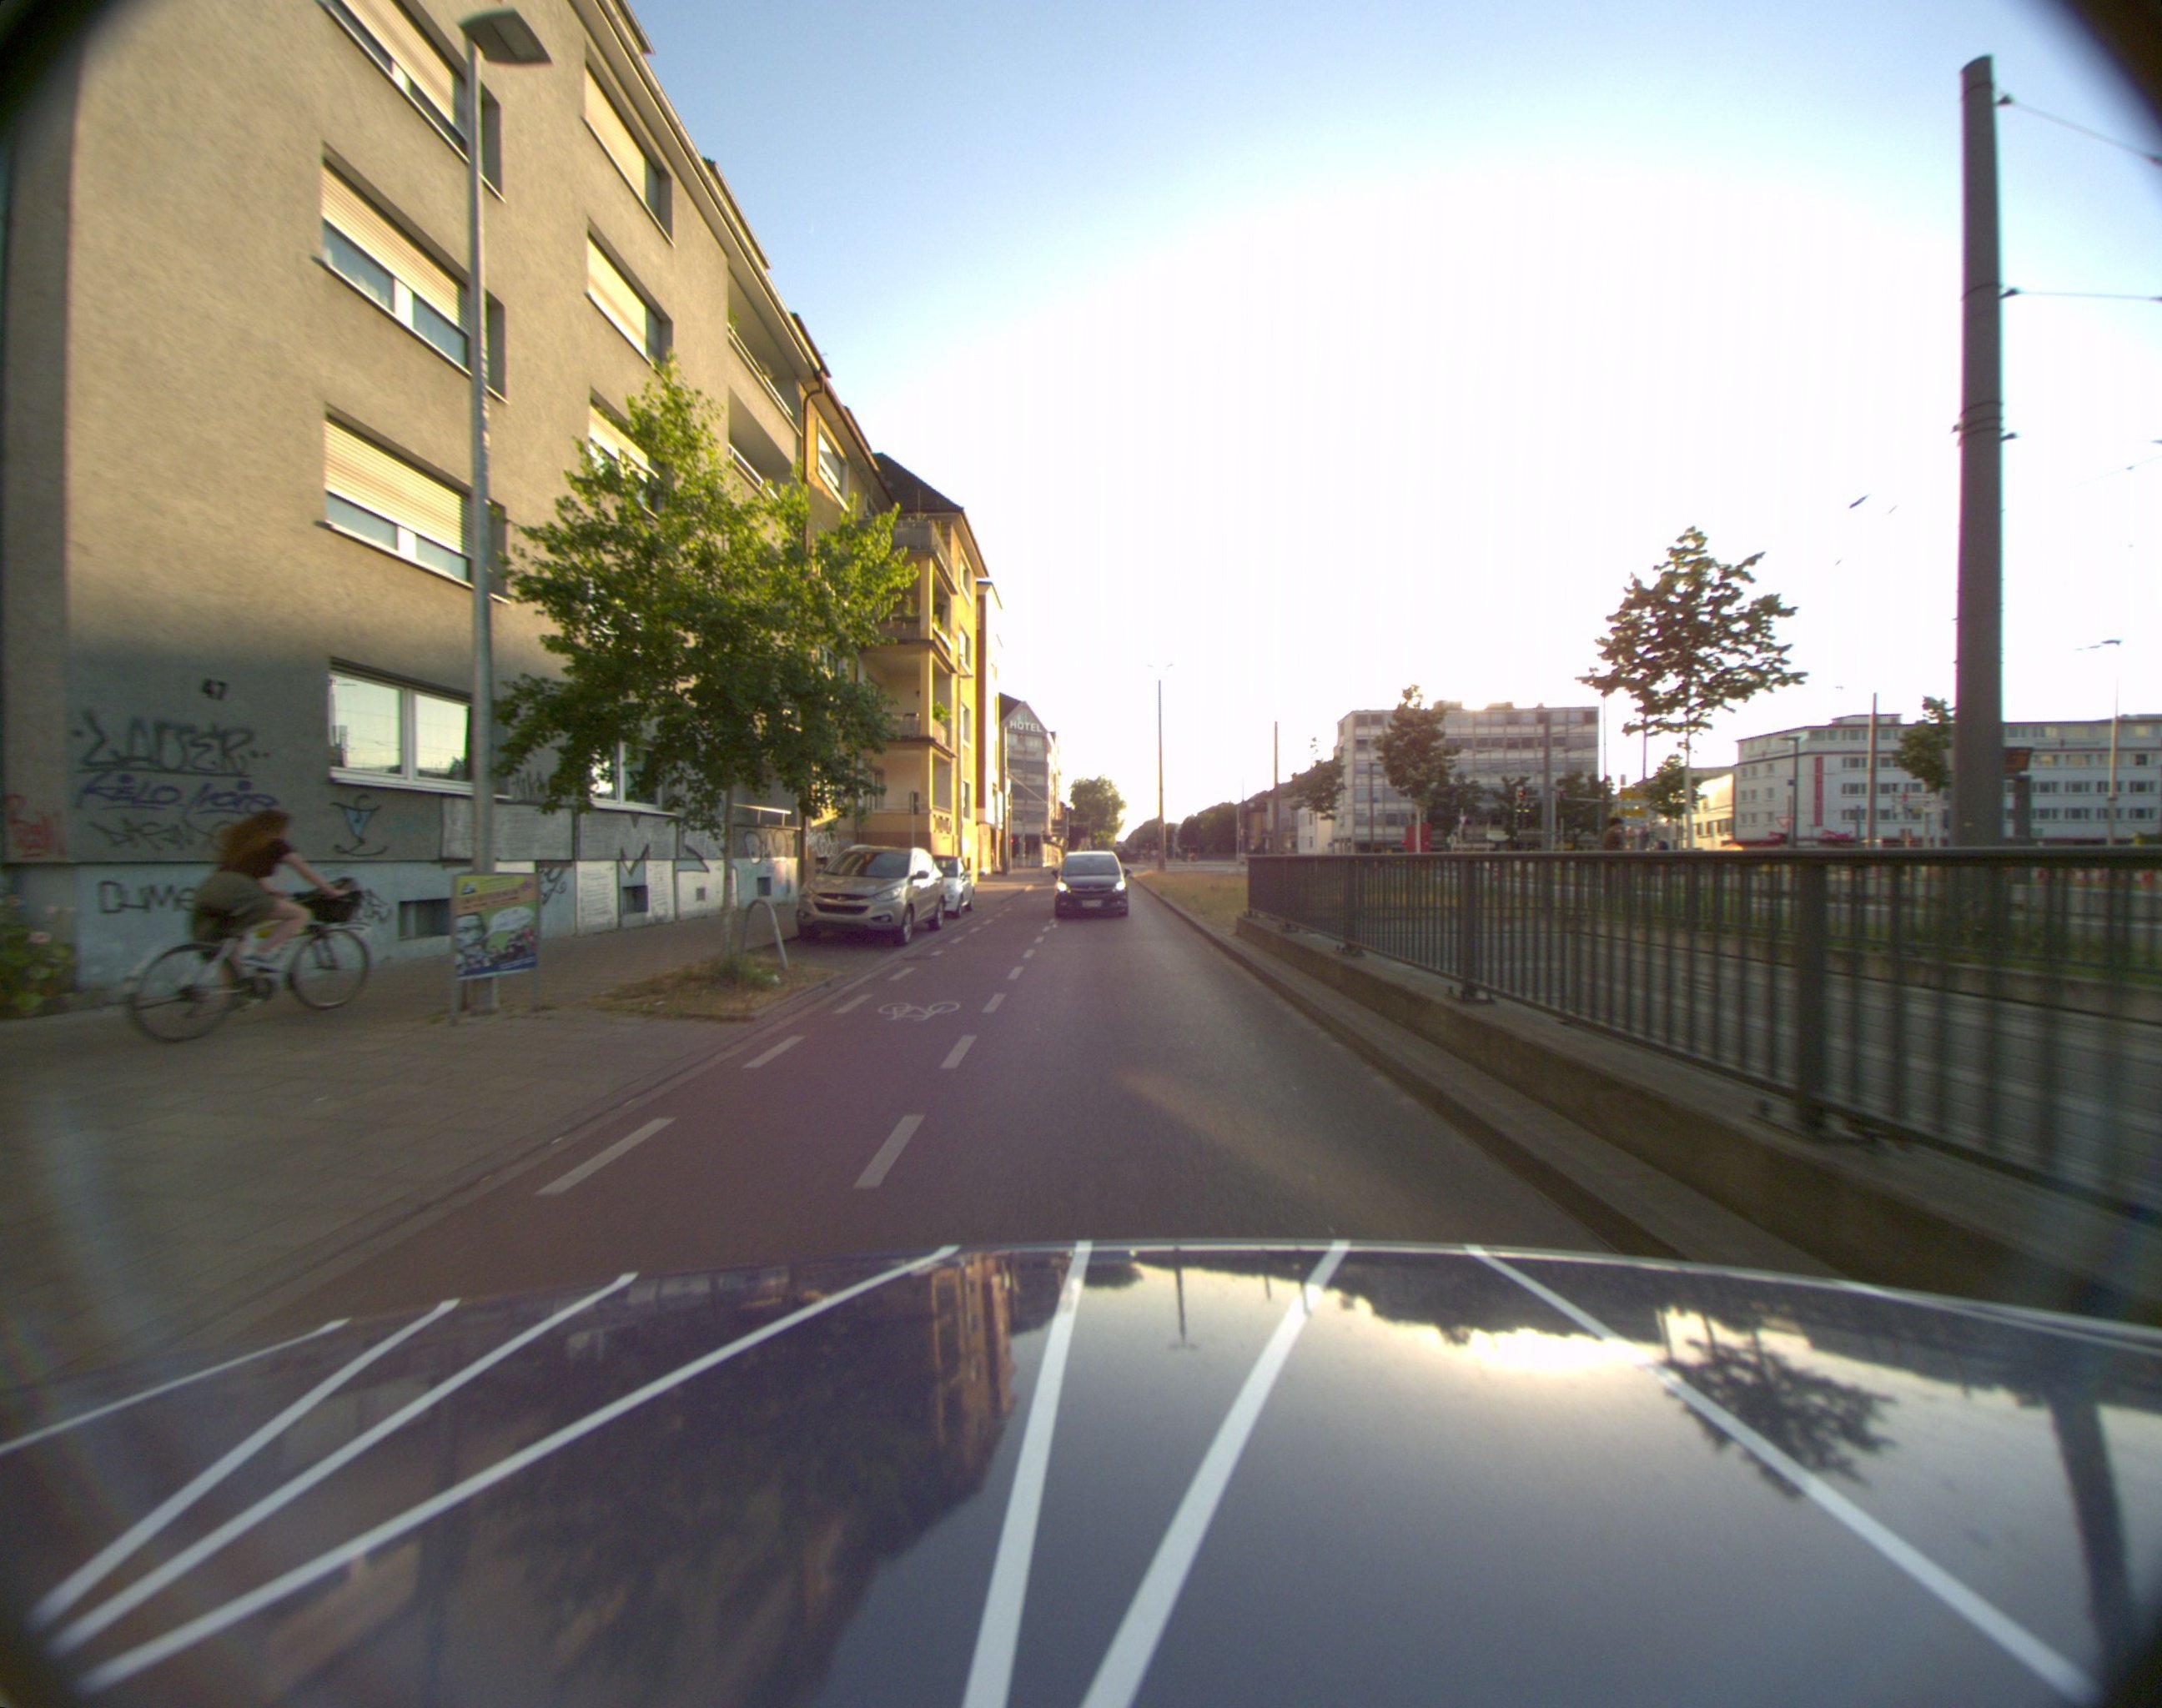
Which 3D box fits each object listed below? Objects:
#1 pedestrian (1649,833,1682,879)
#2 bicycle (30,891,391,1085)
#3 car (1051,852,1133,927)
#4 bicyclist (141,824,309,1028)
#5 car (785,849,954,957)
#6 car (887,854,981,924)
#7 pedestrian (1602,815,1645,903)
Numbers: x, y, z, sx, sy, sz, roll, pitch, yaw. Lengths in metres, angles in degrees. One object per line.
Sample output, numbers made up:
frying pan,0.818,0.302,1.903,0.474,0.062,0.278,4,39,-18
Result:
pedestrian,22.940,0.063,29.839,0.696,1.788,0.817,-1,1,3
bicycle,-6.568,0.925,5.937,0.555,1.123,1.973,3,1,-1
car,0.288,0.789,19.057,1.800,1.609,4.386,-1,1,1
bicyclist,-6.549,0.521,5.844,0.559,1.467,0.622,3,1,-1
car,-3.723,0.754,14.235,1.761,1.644,4.528,2,1,1
car,-3.656,0.819,19.478,1.673,1.509,3.600,3,1,-1
pedestrian,11.163,0.097,15.646,0.472,1.777,0.626,0,1,8
